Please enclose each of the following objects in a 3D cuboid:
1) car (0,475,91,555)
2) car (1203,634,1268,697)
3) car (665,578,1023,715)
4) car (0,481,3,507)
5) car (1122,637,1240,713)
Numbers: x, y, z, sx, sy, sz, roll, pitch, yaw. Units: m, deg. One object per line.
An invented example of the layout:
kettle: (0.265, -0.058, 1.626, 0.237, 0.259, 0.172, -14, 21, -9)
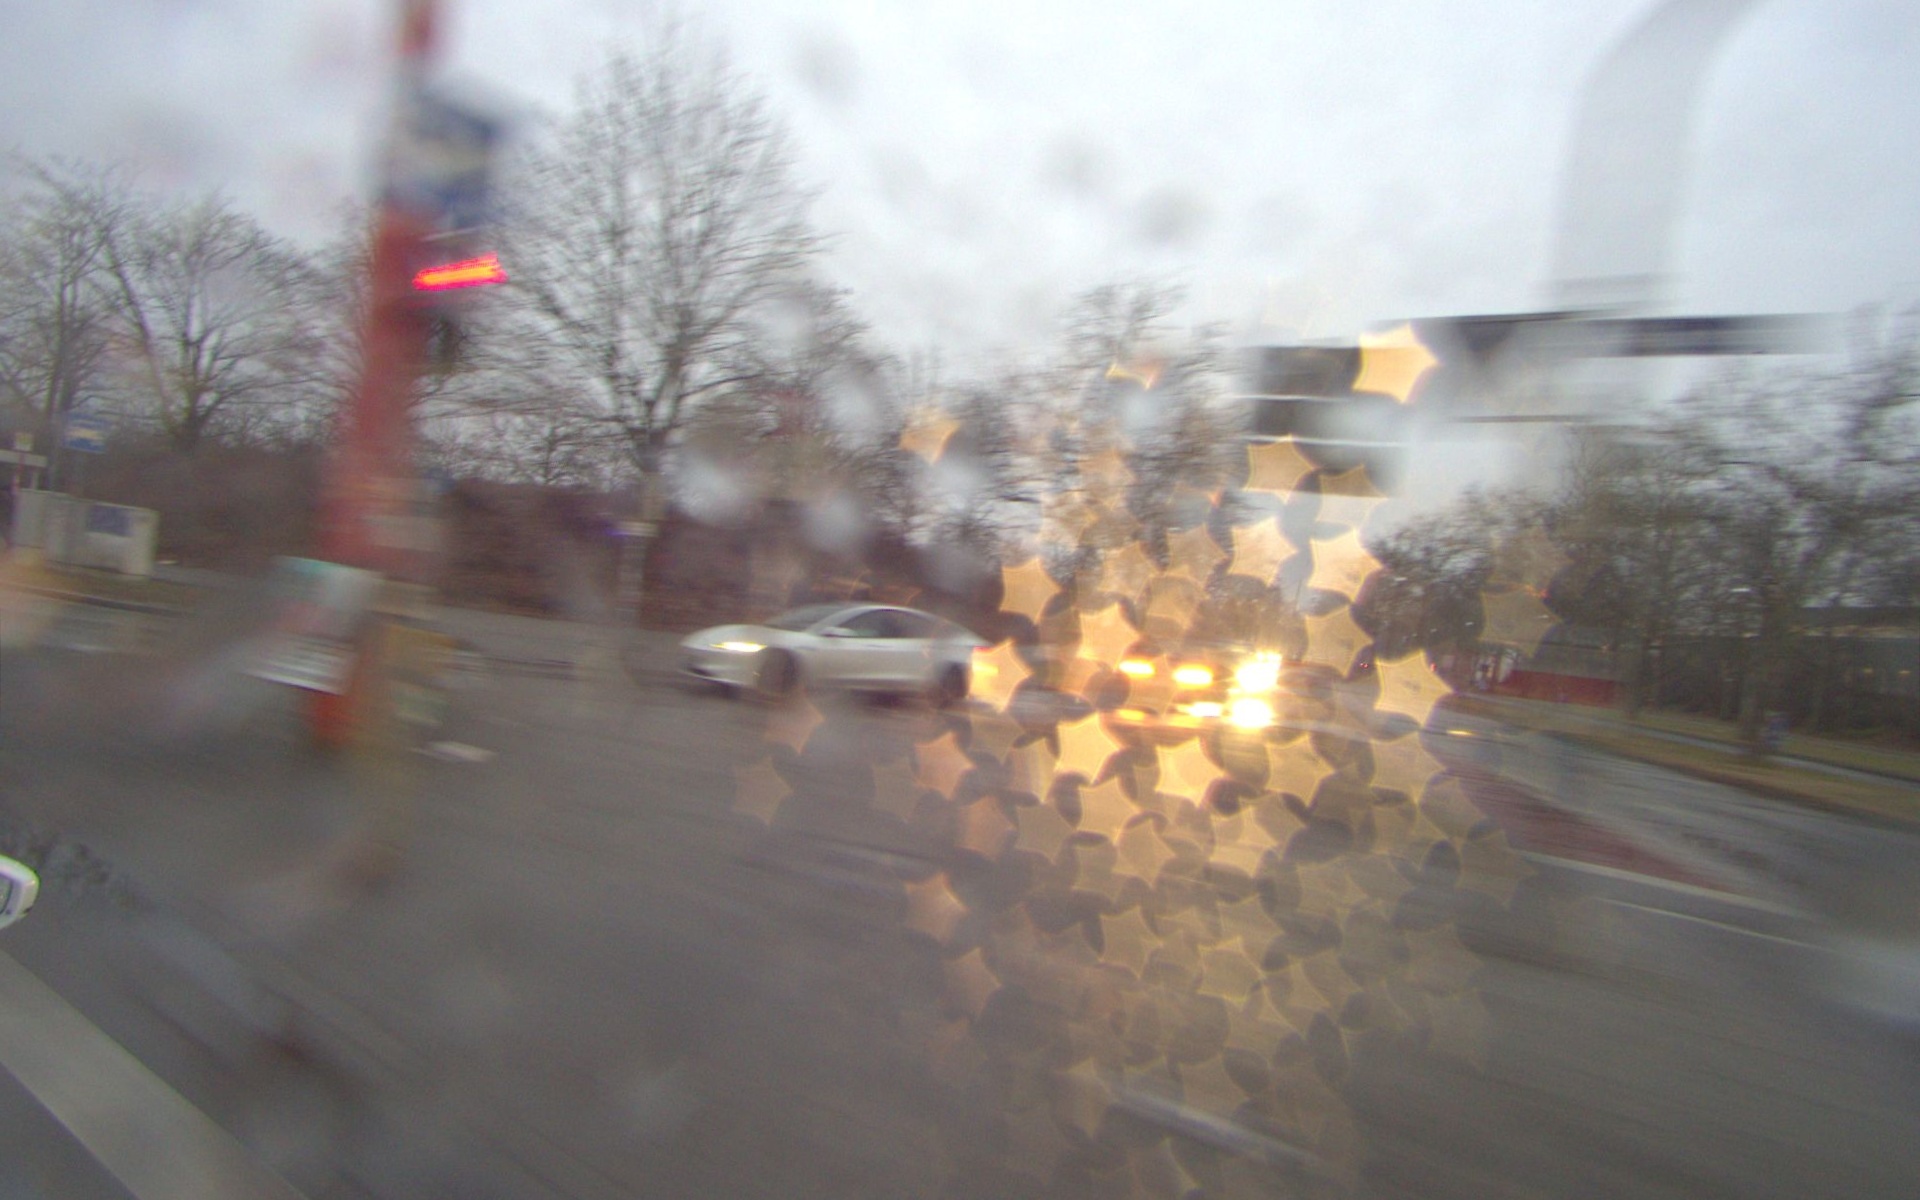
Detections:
car: (-23.142, -2.175, 24.147, 4.469, 1.640, 1.970, 7, 1, 29)
car: (8.748, 2.037, 31.709, 1.627, 1.655, 3.891, 7, 0, 18)
car: (-1.574, 0.709, 14.503, 4.711, 1.392, 1.865, 8, -1, -35)
car: (-16.163, -1.190, 14.465, 4.330, 1.638, 1.821, 7, 0, 23)
car: (4.934, 1.620, 22.031, 1.608, 1.325, 3.998, 7, -1, 25)
